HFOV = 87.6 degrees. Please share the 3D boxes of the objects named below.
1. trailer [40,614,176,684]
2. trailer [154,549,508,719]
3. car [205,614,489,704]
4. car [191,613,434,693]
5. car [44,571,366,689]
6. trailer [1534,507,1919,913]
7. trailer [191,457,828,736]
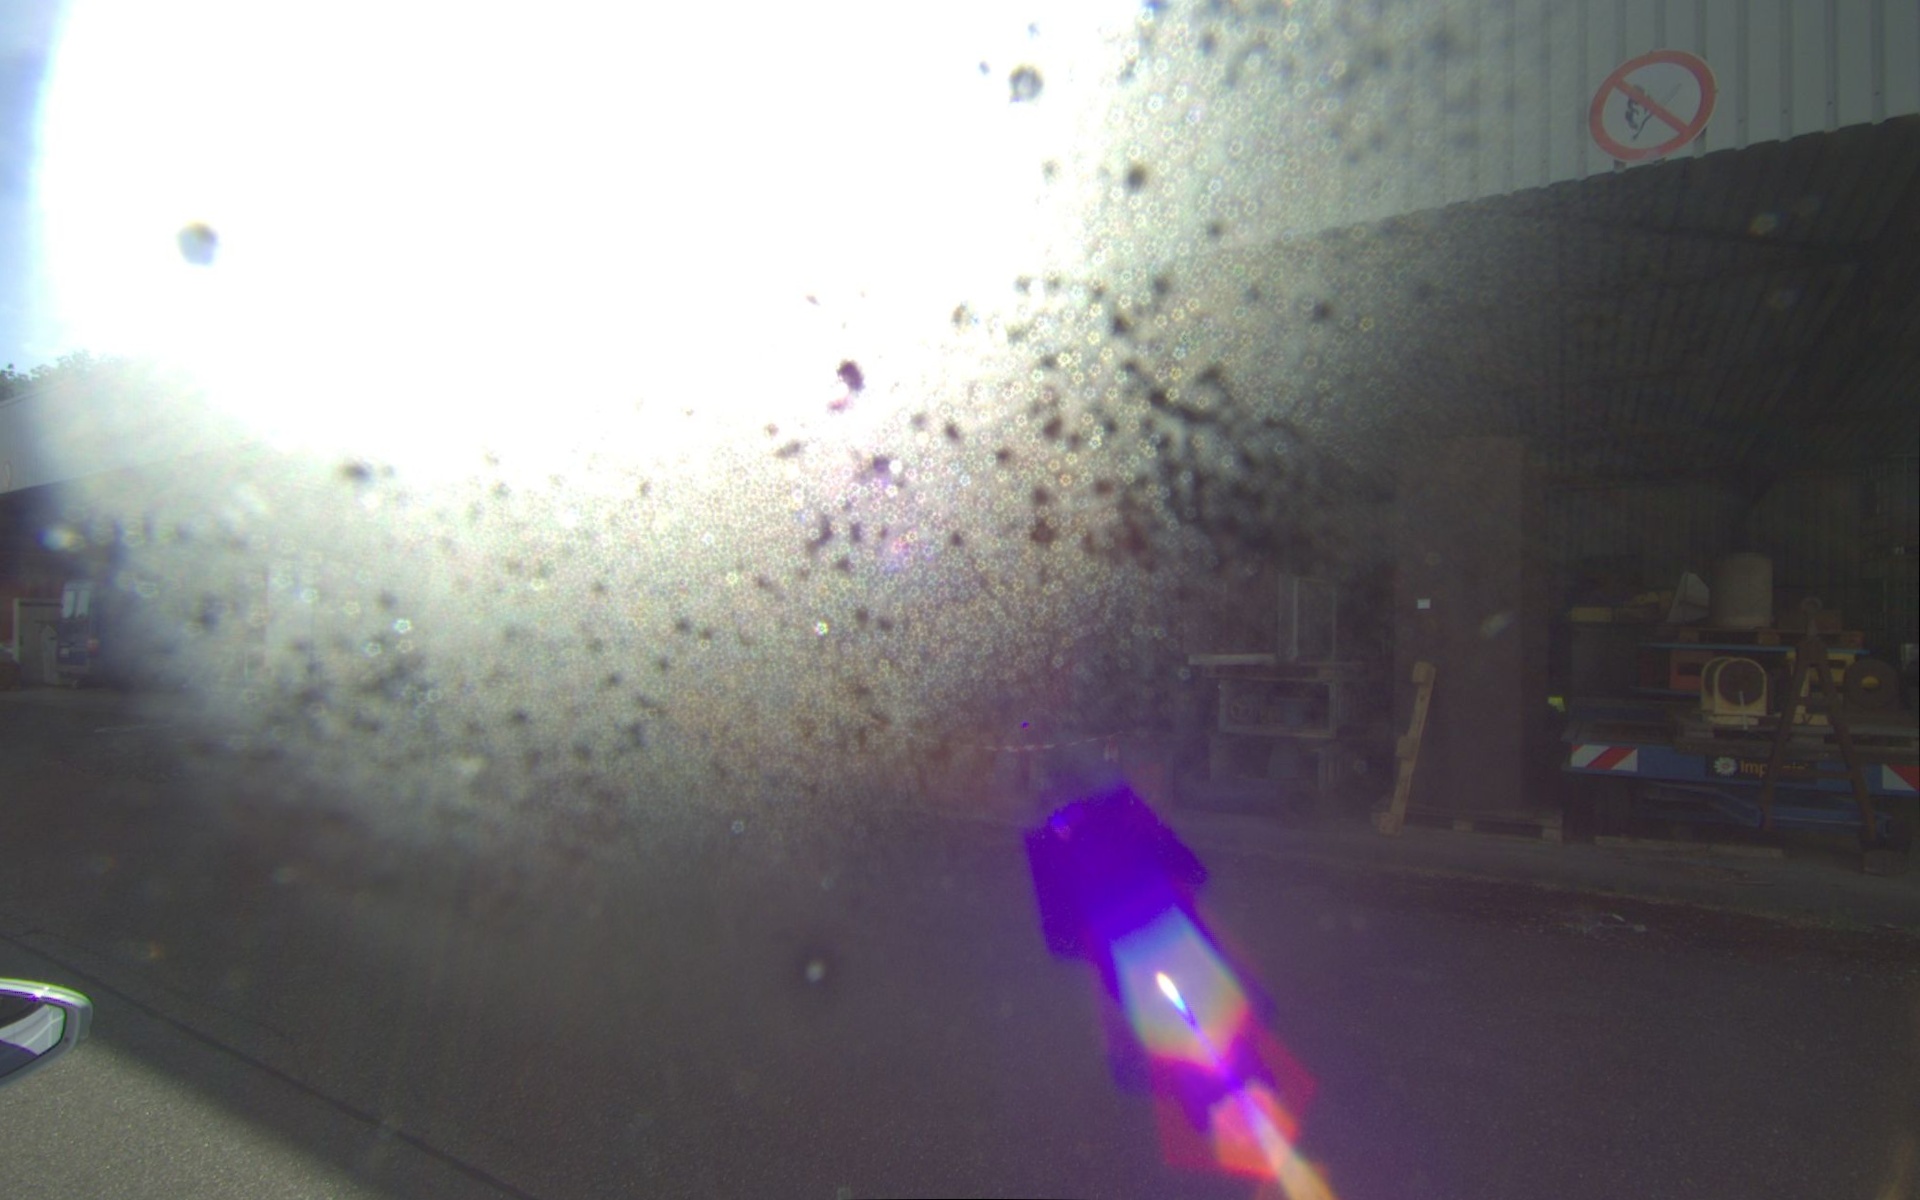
[{"bbox_3d":[-19.338,1.078,22.756,1.715,1.485,2.032,0,-1,36],"label":"trailer"},{"bbox_3d":[-10.052,0.528,16.390,2.018,2.372,4.507,-1,-1,33],"label":"trailer"},{"bbox_3d":[-11.416,1.055,18.986,1.841,1.490,4.246,0,-2,29],"label":"car"},{"bbox_3d":[-13.587,1.091,21.261,1.812,1.533,3.962,-1,-2,29],"label":"car"},{"bbox_3d":[-16.568,0.693,22.343,2.121,2.310,5.326,-1,-2,31],"label":"car"},{"bbox_3d":[5.474,0.596,7.156,2.133,2.016,4.413,-1,-1,33],"label":"trailer"},{"bbox_3d":[-6.622,0.060,17.270,2.761,3.386,10.250,0,-1,32],"label":"trailer"}]
